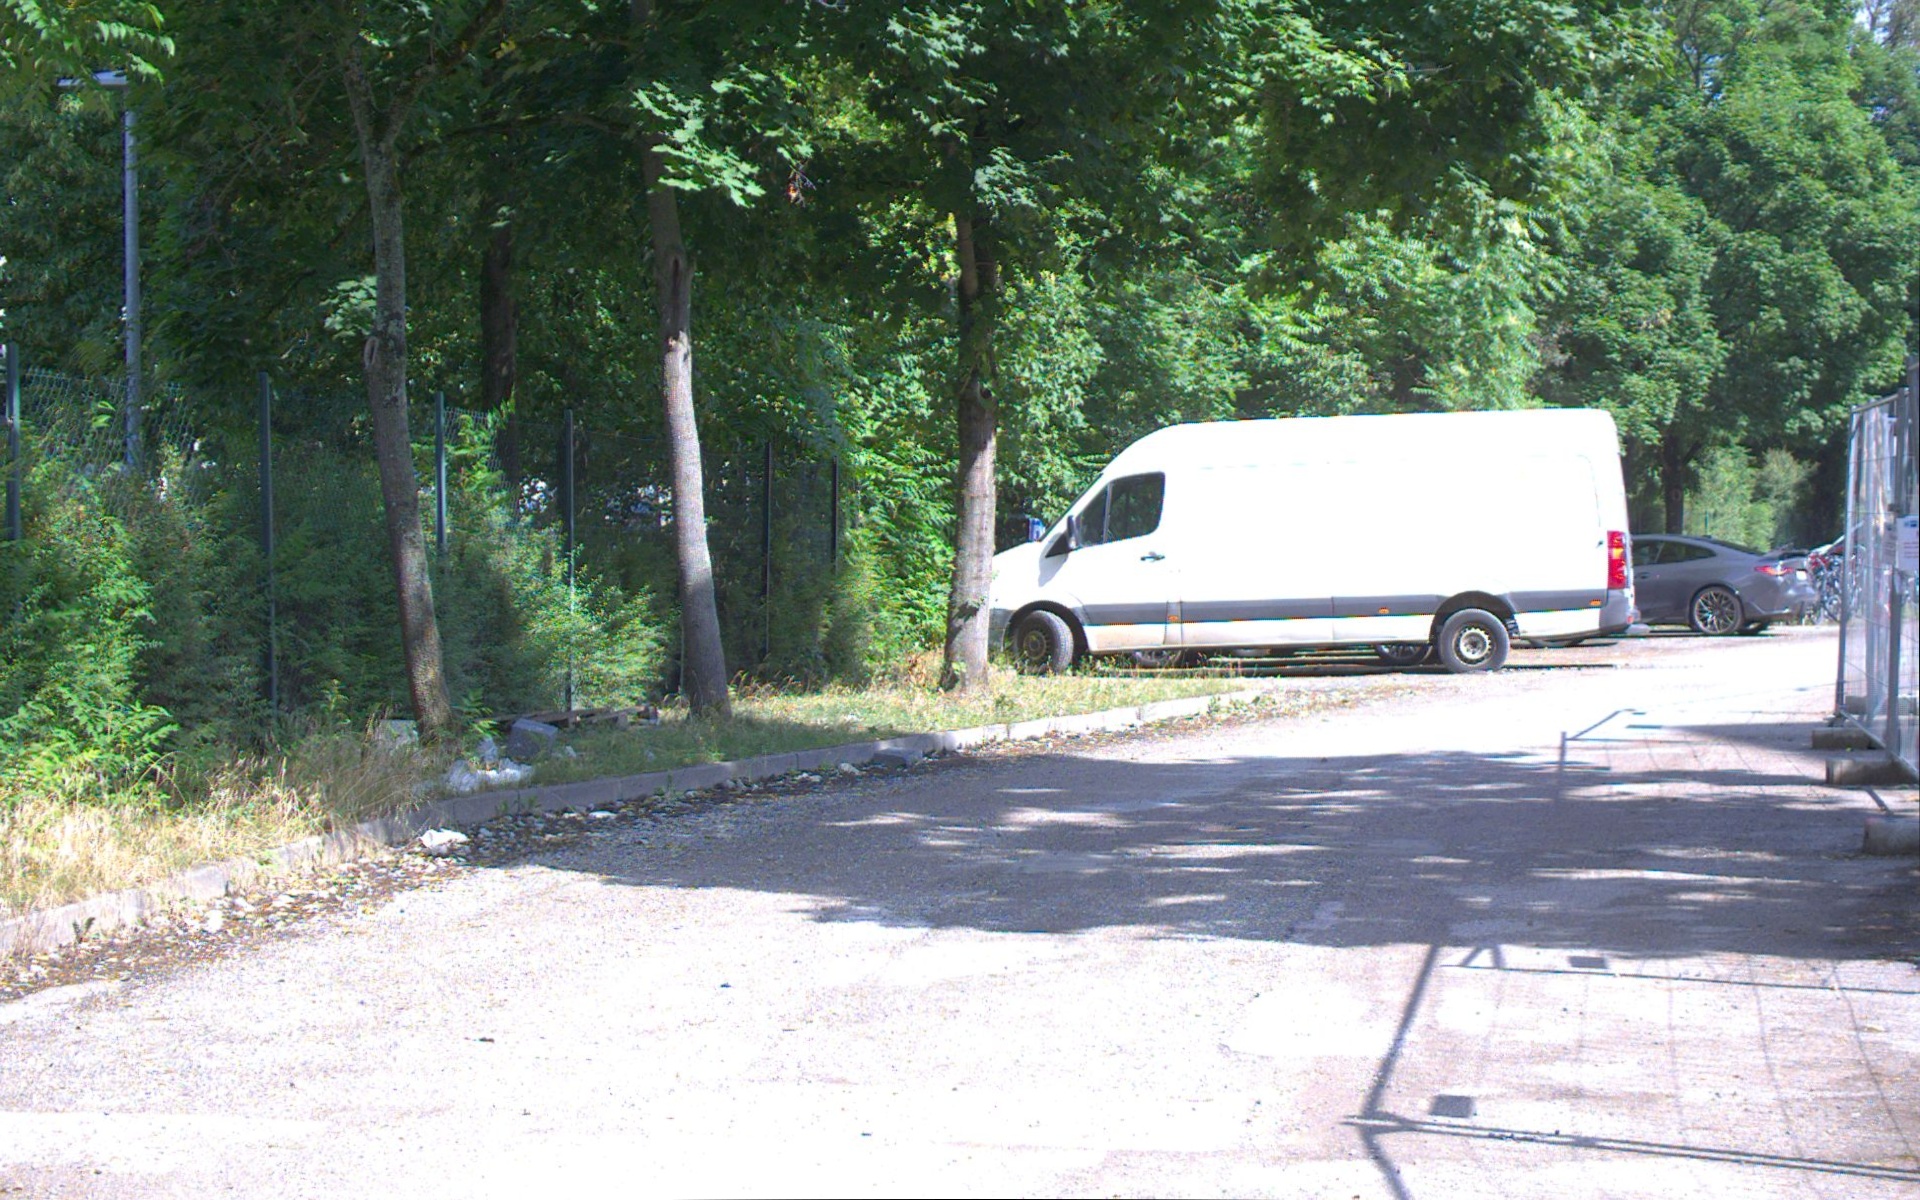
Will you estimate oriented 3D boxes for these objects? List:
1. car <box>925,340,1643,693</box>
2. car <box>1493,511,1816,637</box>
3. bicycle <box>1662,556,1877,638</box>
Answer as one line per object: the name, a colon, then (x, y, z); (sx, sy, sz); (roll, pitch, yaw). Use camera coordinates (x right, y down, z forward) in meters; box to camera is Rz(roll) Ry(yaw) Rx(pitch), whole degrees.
car: (3.327, -0.868, 35.362); (6.955, 3.037, 1.999); (4, 1, 8)
car: (9.501, -0.356, 46.997); (3.992, 1.423, 1.842); (4, -1, 21)
bicycle: (11.832, -0.043, 50.244); (2.881, 0.988, 1.016); (4, -1, 23)
